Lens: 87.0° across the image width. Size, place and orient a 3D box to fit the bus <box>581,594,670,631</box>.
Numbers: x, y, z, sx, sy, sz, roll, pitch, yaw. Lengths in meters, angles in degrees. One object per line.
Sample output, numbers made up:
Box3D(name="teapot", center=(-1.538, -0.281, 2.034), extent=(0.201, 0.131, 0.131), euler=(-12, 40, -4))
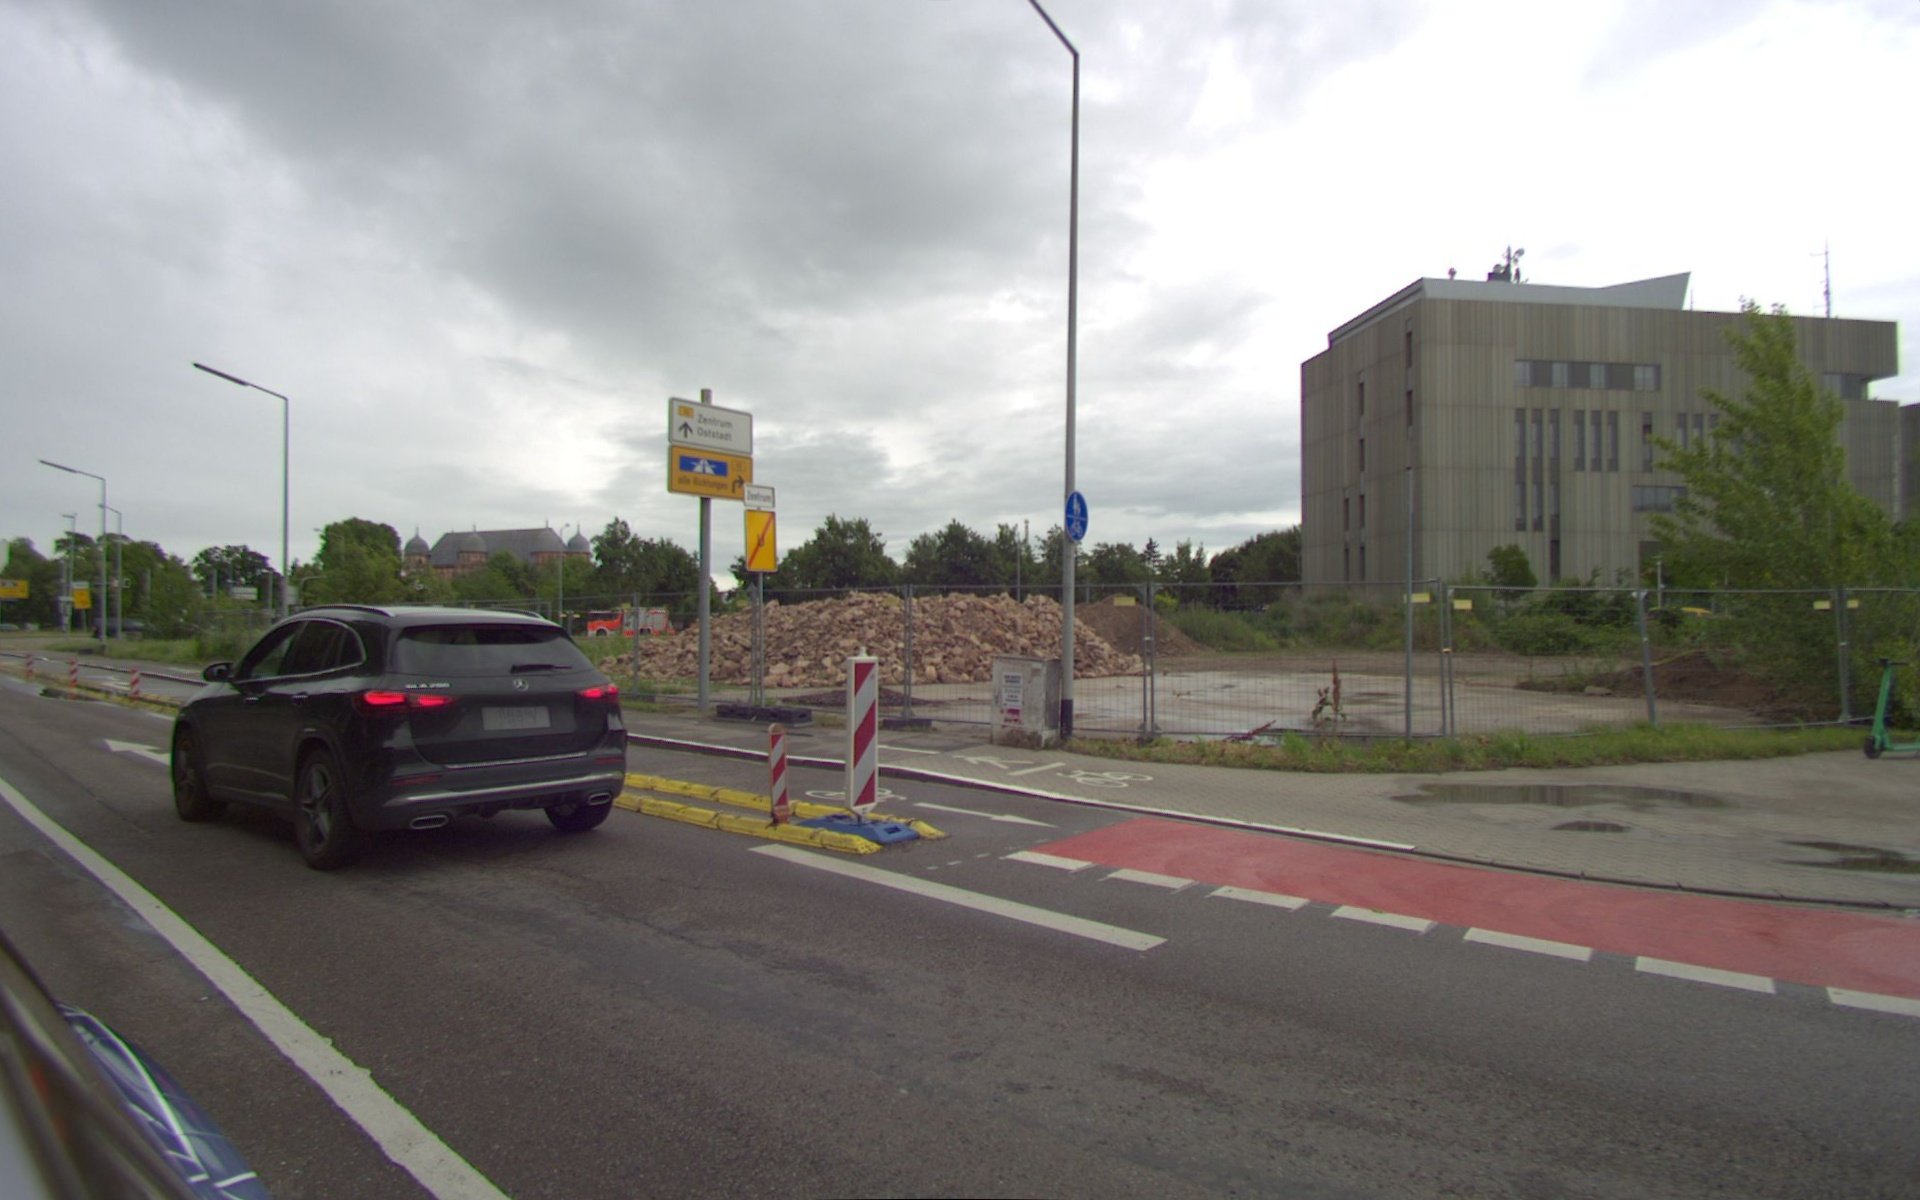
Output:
Box3D(name="bus", center=(-33.902, 1.319, 102.936), extent=(8.263, 3.676, 2.740), euler=(0, -2, -9))

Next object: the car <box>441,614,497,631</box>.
Box3D(name="car", center=(-43.319, 1.952, 89.368), extent=(4.355, 1.468, 1.838), euler=(1, -1, -22))

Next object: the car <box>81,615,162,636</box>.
Box3D(name="car", center=(-63.752, 1.923, 77.025), extent=(1.918, 1.578, 4.421), euler=(-1, -2, 36))

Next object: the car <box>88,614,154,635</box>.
Box3D(name="car", center=(-69.421, 2.022, 83.792), extent=(3.945, 1.728, 1.935), euler=(1, -2, -32))

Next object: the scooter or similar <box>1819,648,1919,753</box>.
Box3D(name="scooter or similar", center=(11.190, 1.143, 11.761), extent=(1.875, 1.151, 0.657), euler=(0, -1, -3))

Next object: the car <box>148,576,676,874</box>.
Box3D(name="car", center=(-4.198, 0.751, 7.469), extent=(4.352, 1.579, 1.863), euler=(-2, -3, 38))
